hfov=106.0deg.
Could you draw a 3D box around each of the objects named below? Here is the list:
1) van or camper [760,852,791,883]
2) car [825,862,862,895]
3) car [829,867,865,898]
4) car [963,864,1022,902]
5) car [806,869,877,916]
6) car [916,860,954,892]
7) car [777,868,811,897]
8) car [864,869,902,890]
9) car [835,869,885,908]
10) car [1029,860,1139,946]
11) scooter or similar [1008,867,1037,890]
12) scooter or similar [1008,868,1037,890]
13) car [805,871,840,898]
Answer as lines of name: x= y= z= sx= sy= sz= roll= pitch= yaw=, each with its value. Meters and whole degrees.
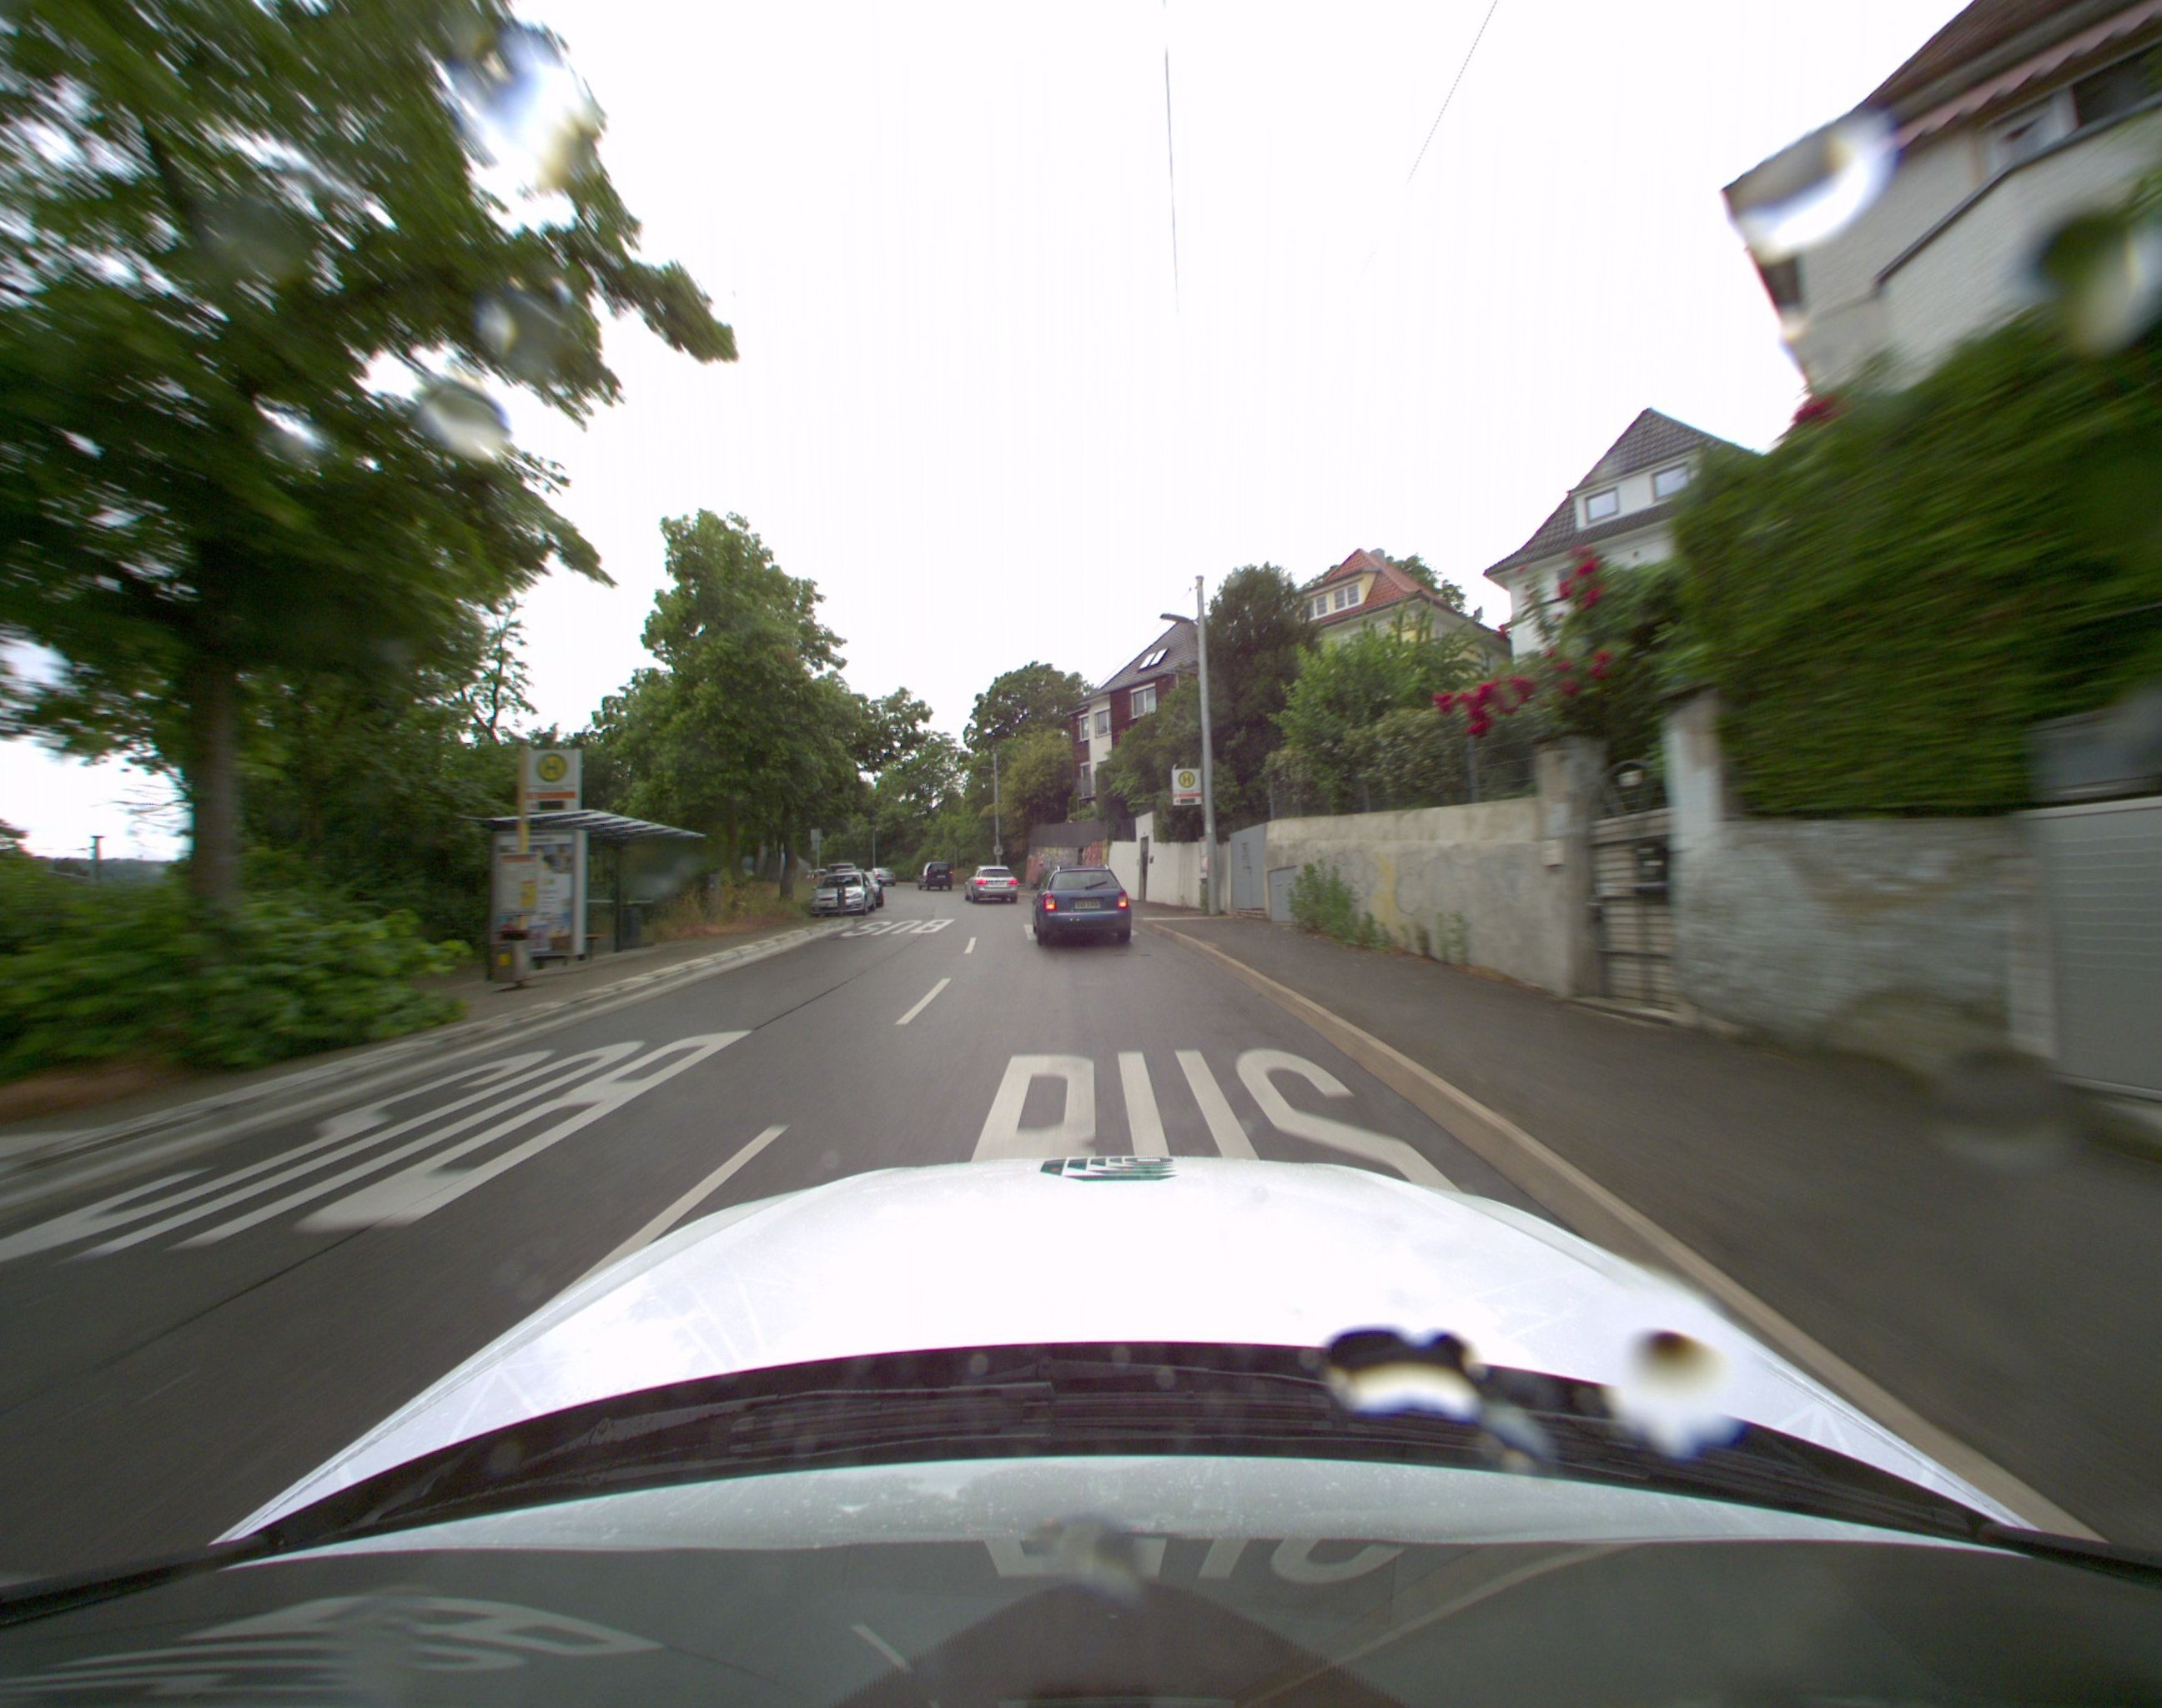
van or camper: x=-26.970 y=1.211 z=71.785 sx=1.791 sy=2.651 sz=3.949 roll=-2 pitch=-1 yaw=-32
car: x=-14.587 y=1.509 z=49.871 sx=1.843 sy=1.843 sz=3.876 roll=-2 pitch=-1 yaw=-20
car: x=-13.000 y=1.544 z=45.173 sx=1.679 sy=1.552 sz=3.877 roll=-2 pitch=-1 yaw=-19
car: x=-3.654 y=1.170 z=33.067 sx=1.910 sy=1.388 sz=4.331 roll=1 pitch=-2 yaw=-12
car: x=-8.075 y=1.256 z=27.796 sx=1.673 sy=1.427 sz=3.989 roll=-3 pitch=-1 yaw=-8
car: x=-9.592 y=1.441 z=53.441 sx=1.736 sy=1.894 sz=4.028 roll=-2 pitch=-1 yaw=-20
car: x=-22.359 y=2.209 z=63.320 sx=2.004 sy=2.014 sz=3.966 roll=-2 pitch=-1 yaw=-25
car: x=-15.876 y=2.083 z=65.276 sx=1.778 sy=1.570 sz=3.989 roll=-2 pitch=-1 yaw=-32
car: x=-8.896 y=1.355 z=33.035 sx=1.675 sy=1.427 sz=3.983 roll=-3 pitch=-1 yaw=-12
car: x=-0.065 y=0.894 z=16.167 sx=1.774 sy=1.439 sz=3.992 roll=-2 pitch=-1 yaw=-5
scooter or similar: x=-3.816 y=1.600 z=53.003 sx=1.833 sy=1.315 sz=0.598 roll=3 pitch=-5 yaw=-8
scooter or similar: x=-3.862 y=1.651 z=53.825 sx=1.833 sy=1.315 sz=0.598 roll=3 pitch=-5 yaw=-8
car: x=-18.310 y=2.154 z=57.559 sx=2.002 sy=1.728 sz=3.970 roll=-3 pitch=-1 yaw=-22
